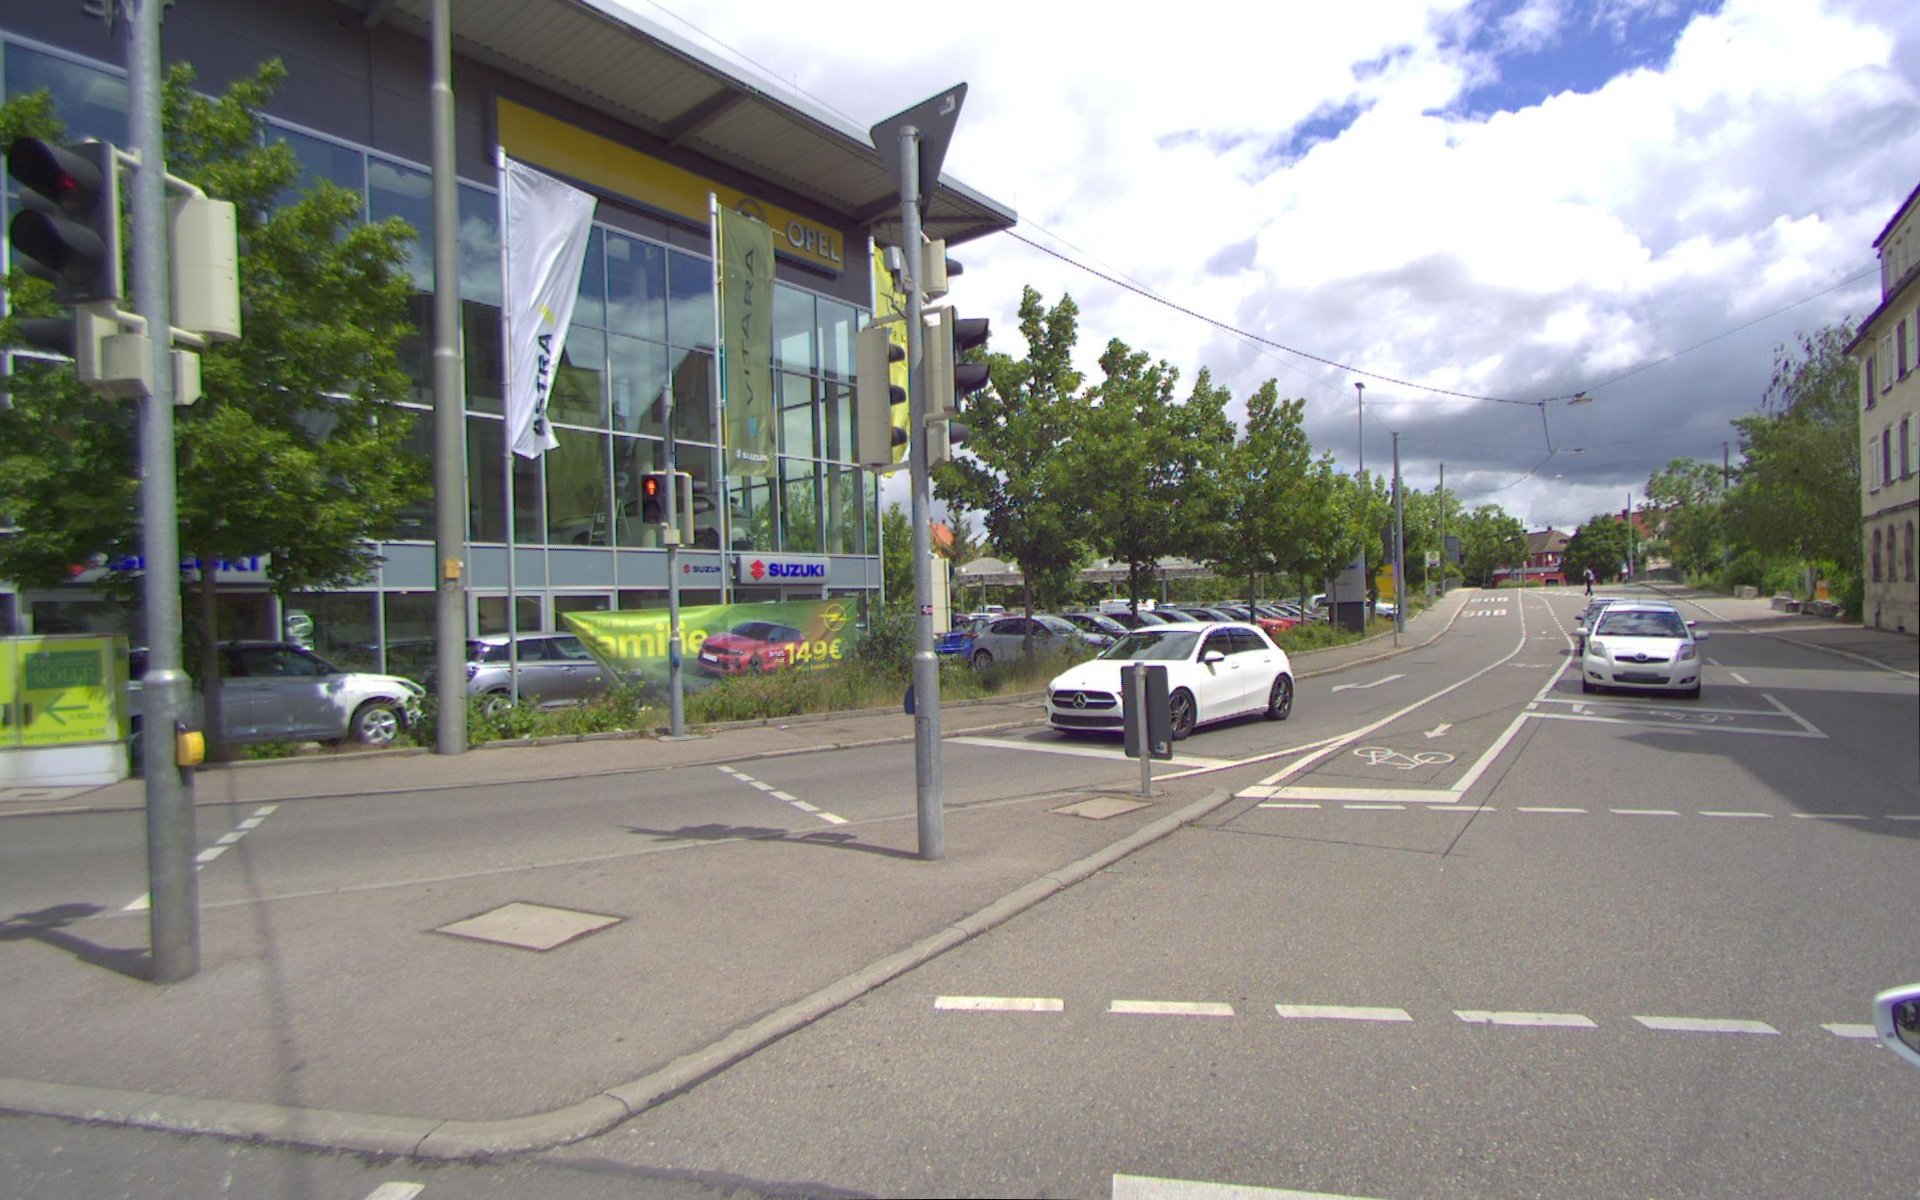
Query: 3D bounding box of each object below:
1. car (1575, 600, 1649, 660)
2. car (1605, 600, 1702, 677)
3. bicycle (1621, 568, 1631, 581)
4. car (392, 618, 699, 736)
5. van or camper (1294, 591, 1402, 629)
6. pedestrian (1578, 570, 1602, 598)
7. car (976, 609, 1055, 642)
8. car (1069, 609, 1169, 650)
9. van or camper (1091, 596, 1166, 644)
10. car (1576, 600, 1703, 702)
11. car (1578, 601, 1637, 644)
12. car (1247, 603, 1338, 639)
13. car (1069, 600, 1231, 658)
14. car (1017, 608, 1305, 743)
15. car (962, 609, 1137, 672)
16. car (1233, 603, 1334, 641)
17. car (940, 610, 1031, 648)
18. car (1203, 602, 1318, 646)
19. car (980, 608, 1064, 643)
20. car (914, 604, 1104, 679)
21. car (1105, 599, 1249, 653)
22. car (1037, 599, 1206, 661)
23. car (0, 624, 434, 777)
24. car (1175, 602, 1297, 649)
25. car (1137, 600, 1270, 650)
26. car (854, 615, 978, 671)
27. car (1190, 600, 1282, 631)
[{"bbox_3d":[19.053,0.819,29.358,1.695,1.602,4.239,1,0,33],"label":"car"},{"bbox_3d":[16.100,0.832,23.437,1.695,1.602,4.306,1,0,33],"label":"car"},{"bbox_3d":[55.732,-2.143,84.031,0.678,0.889,2.096,-1,-4,34],"label":"bicycle"},{"bbox_3d":[-6.595,1.126,16.414,1.917,1.583,4.292,1,0,35],"label":"car"},{"bbox_3d":[19.260,0.510,49.924,4.607,1.773,1.993,-2,0,35],"label":"van or camper"},{"bbox_3d":[42.172,-1.086,67.266,0.987,1.862,1.029,-2,2,-29],"label":"pedestrian"},{"bbox_3d":[2.553,1.187,46.445,3.268,1.391,1.514,-2,0,31],"label":"car"},{"bbox_3d":[5.829,1.074,36.910,3.268,1.391,1.514,-2,0,31],"label":"car"},{"bbox_3d":[8.079,0.911,47.834,1.965,2.040,4.676,-2,0,30],"label":"van or camper"},{"bbox_3d":[12.195,0.831,18.110,1.695,1.602,3.989,1,0,34],"label":"car"},{"bbox_3d":[25.938,0.863,40.312,1.693,1.602,3.993,1,0,29],"label":"car"},{"bbox_3d":[14.706,0.926,44.410,3.640,1.428,1.793,-2,0,25],"label":"car"},{"bbox_3d":[5.502,0.855,29.230,4.218,1.517,1.808,-2,0,31],"label":"car"},{"bbox_3d":[2.853,0.914,13.527,1.701,1.516,4.437,-4,-3,43],"label":"car"},{"bbox_3d":[2.217,1.010,25.255,4.013,1.413,1.807,-2,0,35],"label":"car"},{"bbox_3d":[13.659,0.926,42.405,3.777,1.480,1.770,-2,0,29],"label":"car"},{"bbox_3d":[1.009,1.165,40.078,3.268,1.391,1.514,-2,0,31],"label":"car"},{"bbox_3d":[11.307,0.916,37.832,3.793,1.517,1.809,-2,0,30],"label":"car"},{"bbox_3d":[2.660,1.118,43.450,3.268,1.391,1.514,-2,0,31],"label":"car"},{"bbox_3d":[1.078,0.929,22.900,3.934,1.517,1.807,-2,0,35],"label":"car"},{"bbox_3d":[6.746,0.813,31.320,3.997,1.517,1.808,-2,0,31],"label":"car"},{"bbox_3d":[4.353,0.829,27.235,4.147,1.517,1.808,-2,0,31],"label":"car"},{"bbox_3d":[-9.276,1.102,12.670,1.920,1.494,4.284,1,0,41],"label":"car"},{"bbox_3d":[9.741,0.893,35.466,3.772,1.517,1.808,-2,0,31],"label":"car"},{"bbox_3d":[8.107,0.847,33.547,3.925,1.517,1.808,-2,0,31],"label":"car"},{"bbox_3d":[-1.201,1.154,27.065,2.968,1.391,1.514,-2,0,32],"label":"car"},{"bbox_3d":[14.266,0.802,52.150,4.431,1.455,2.014,-2,0,11],"label":"car"}]
